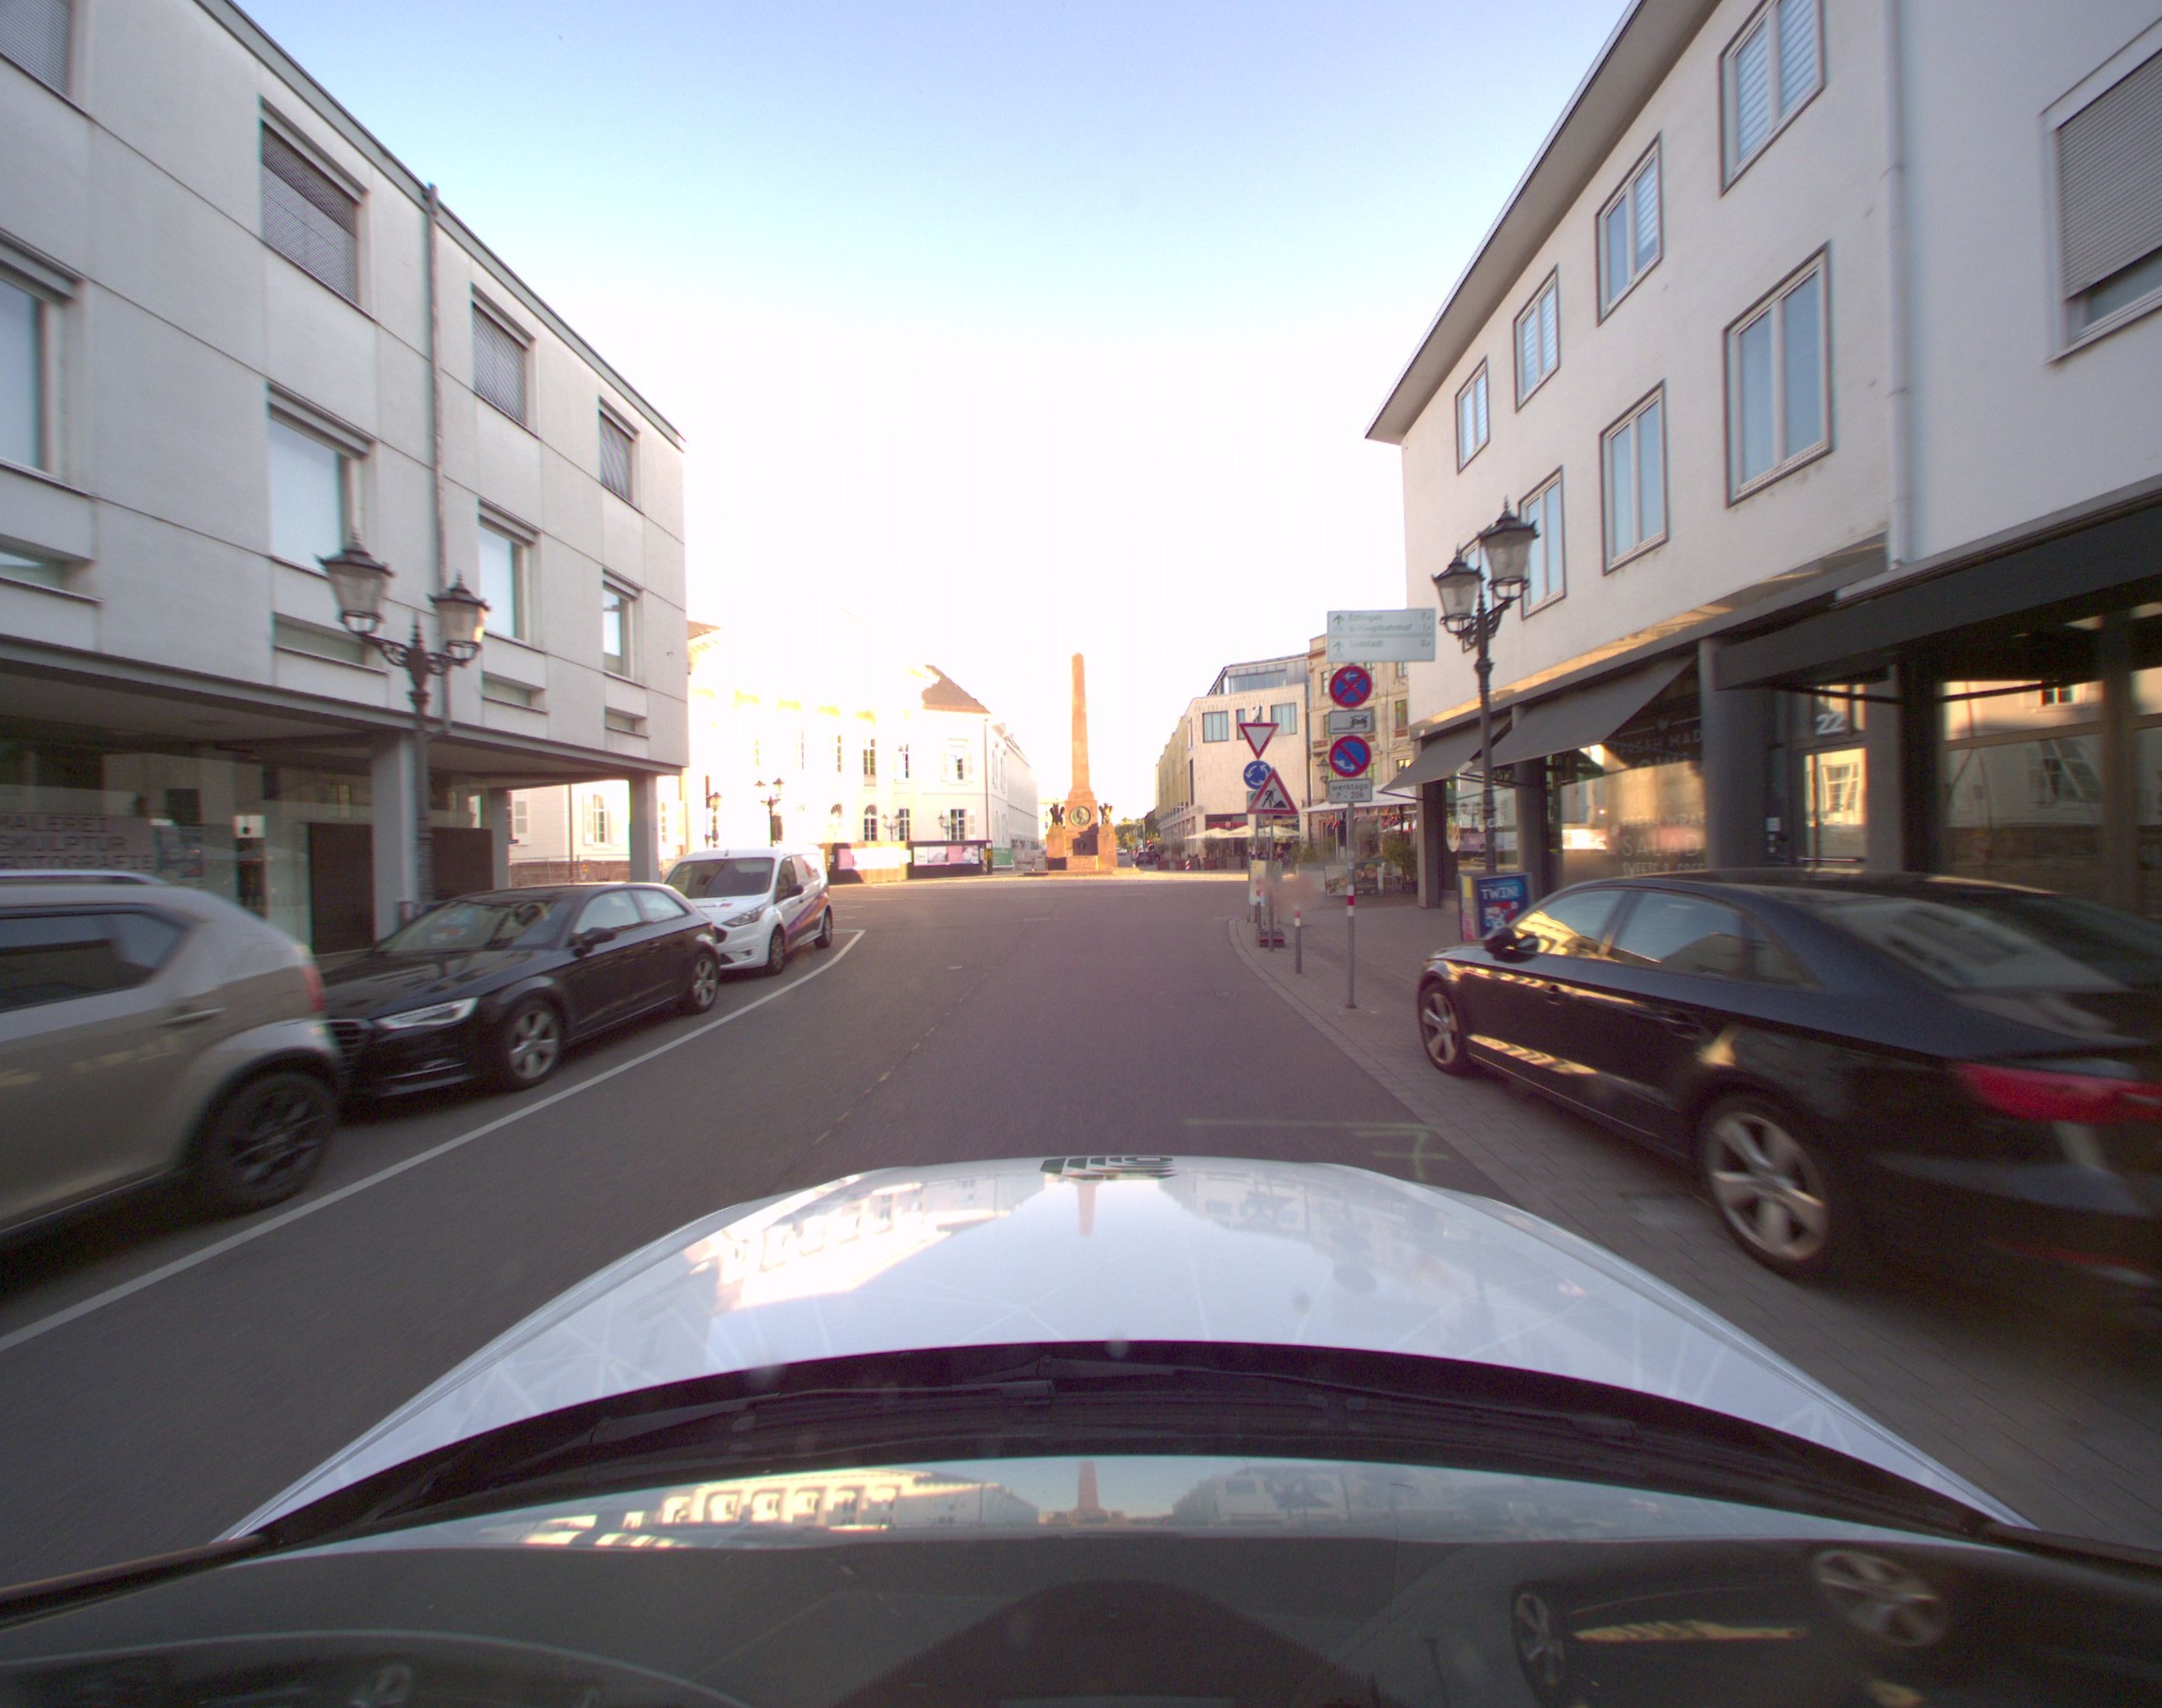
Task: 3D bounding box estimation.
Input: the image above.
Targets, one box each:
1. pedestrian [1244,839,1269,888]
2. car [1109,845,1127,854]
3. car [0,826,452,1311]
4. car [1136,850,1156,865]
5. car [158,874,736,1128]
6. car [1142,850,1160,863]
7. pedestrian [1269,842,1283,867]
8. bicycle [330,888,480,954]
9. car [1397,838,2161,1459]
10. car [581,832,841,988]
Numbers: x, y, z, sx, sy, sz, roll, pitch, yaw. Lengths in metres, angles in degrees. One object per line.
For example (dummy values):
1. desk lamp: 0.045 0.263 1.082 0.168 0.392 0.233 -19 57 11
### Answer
1. pedestrian: 6.088 0.328 28.200 0.687 1.647 0.696 -2 0 1
2. car: 8.645 -0.979 189.681 2.011 2.013 3.951 -2 0 -43
3. car: -4.731 0.786 2.793 1.988 1.662 3.998 -3 0 -1
4. car: 6.796 0.356 85.459 1.985 1.464 4.004 -2 0 4
5. car: -4.657 0.929 6.925 1.672 1.353 4.104 -1 0 0
6. car: 8.079 0.250 93.900 1.985 1.464 4.004 -2 0 4
7. pedestrian: 13.421 0.020 56.065 0.899 1.728 0.852 -2 0 10
8. bicycle: -12.132 1.170 14.743 0.730 0.983 2.336 -1 0 1
9. car: 3.303 0.700 4.063 1.796 1.464 4.116 -2 0 -1
10. car: -5.133 0.651 12.181 1.990 1.816 4.776 -1 0 -5
